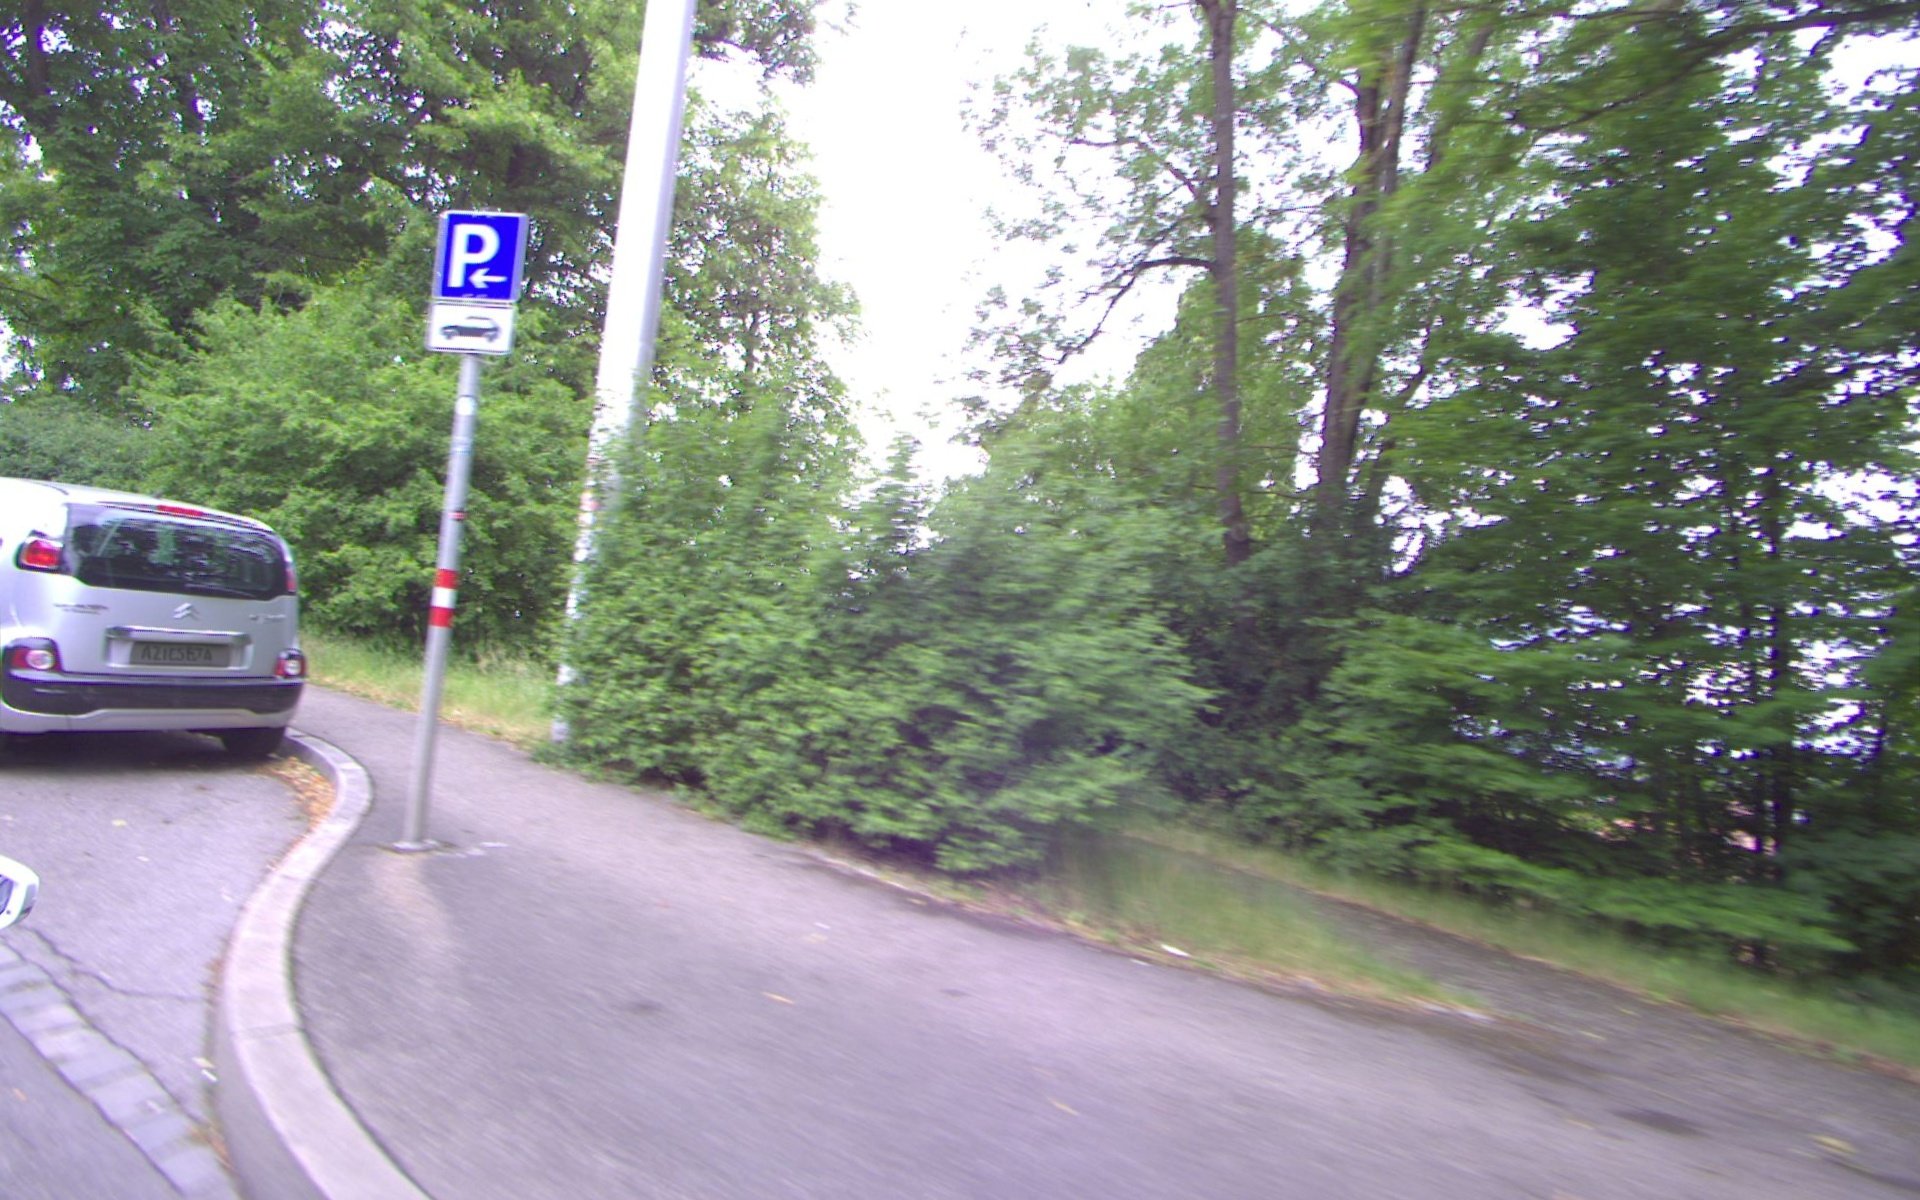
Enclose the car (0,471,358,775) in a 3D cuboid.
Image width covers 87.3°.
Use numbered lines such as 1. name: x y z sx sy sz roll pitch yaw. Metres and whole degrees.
1. car: -6.179 0.007 6.789 3.932 1.543 1.807 6 -1 29
